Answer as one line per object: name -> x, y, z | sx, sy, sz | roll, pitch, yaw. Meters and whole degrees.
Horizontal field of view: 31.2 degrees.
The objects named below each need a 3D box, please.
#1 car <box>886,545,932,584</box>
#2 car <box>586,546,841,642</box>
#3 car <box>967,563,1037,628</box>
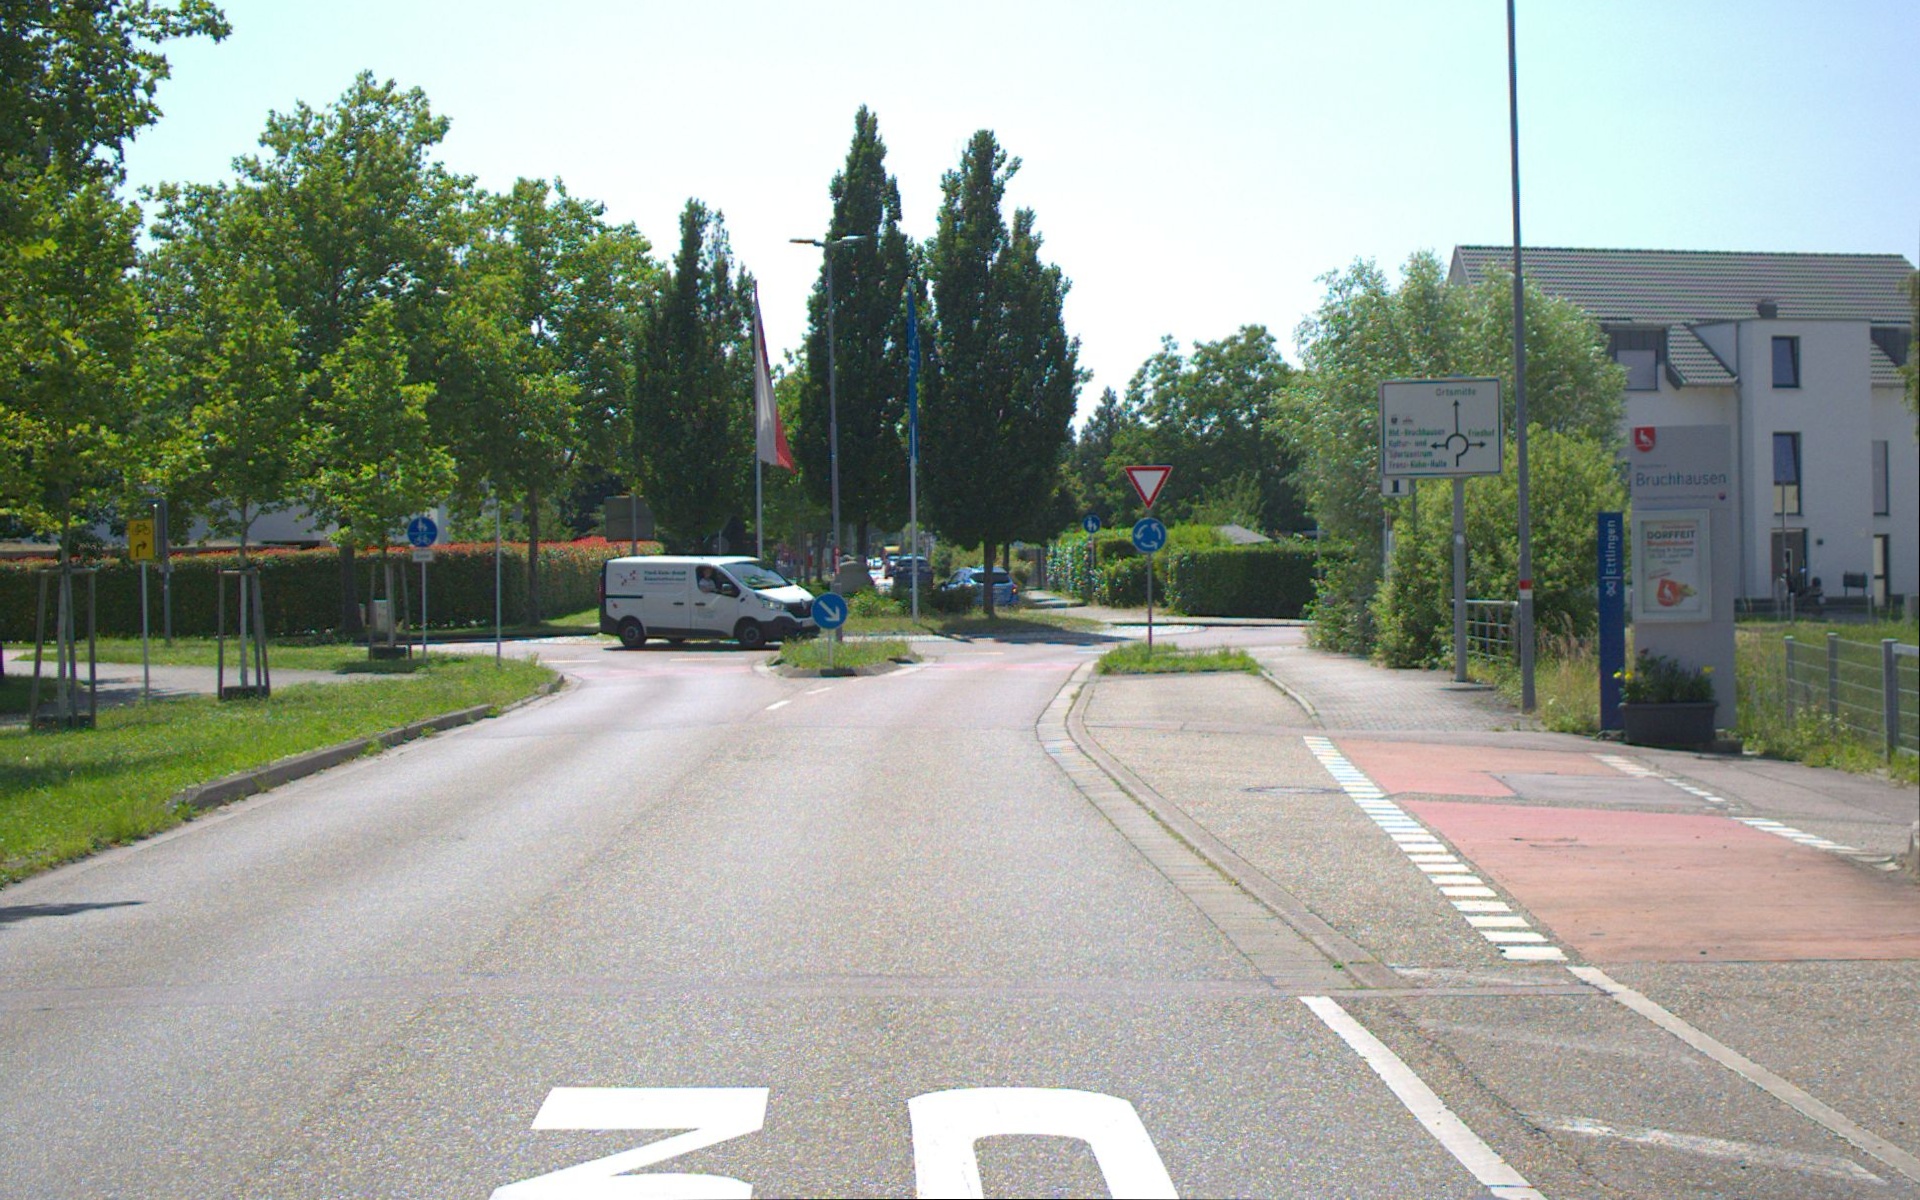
car -> -2.328, -1.611, 156.996 | 1.993, 1.764, 4.000 | 1, 0, -2
car -> -5.377, -0.139, 74.924 | 5.139, 2.007, 2.131 | 1, 0, 26
car -> 1.241, -0.134, 102.846 | 1.923, 1.879, 4.000 | 1, 0, -1
